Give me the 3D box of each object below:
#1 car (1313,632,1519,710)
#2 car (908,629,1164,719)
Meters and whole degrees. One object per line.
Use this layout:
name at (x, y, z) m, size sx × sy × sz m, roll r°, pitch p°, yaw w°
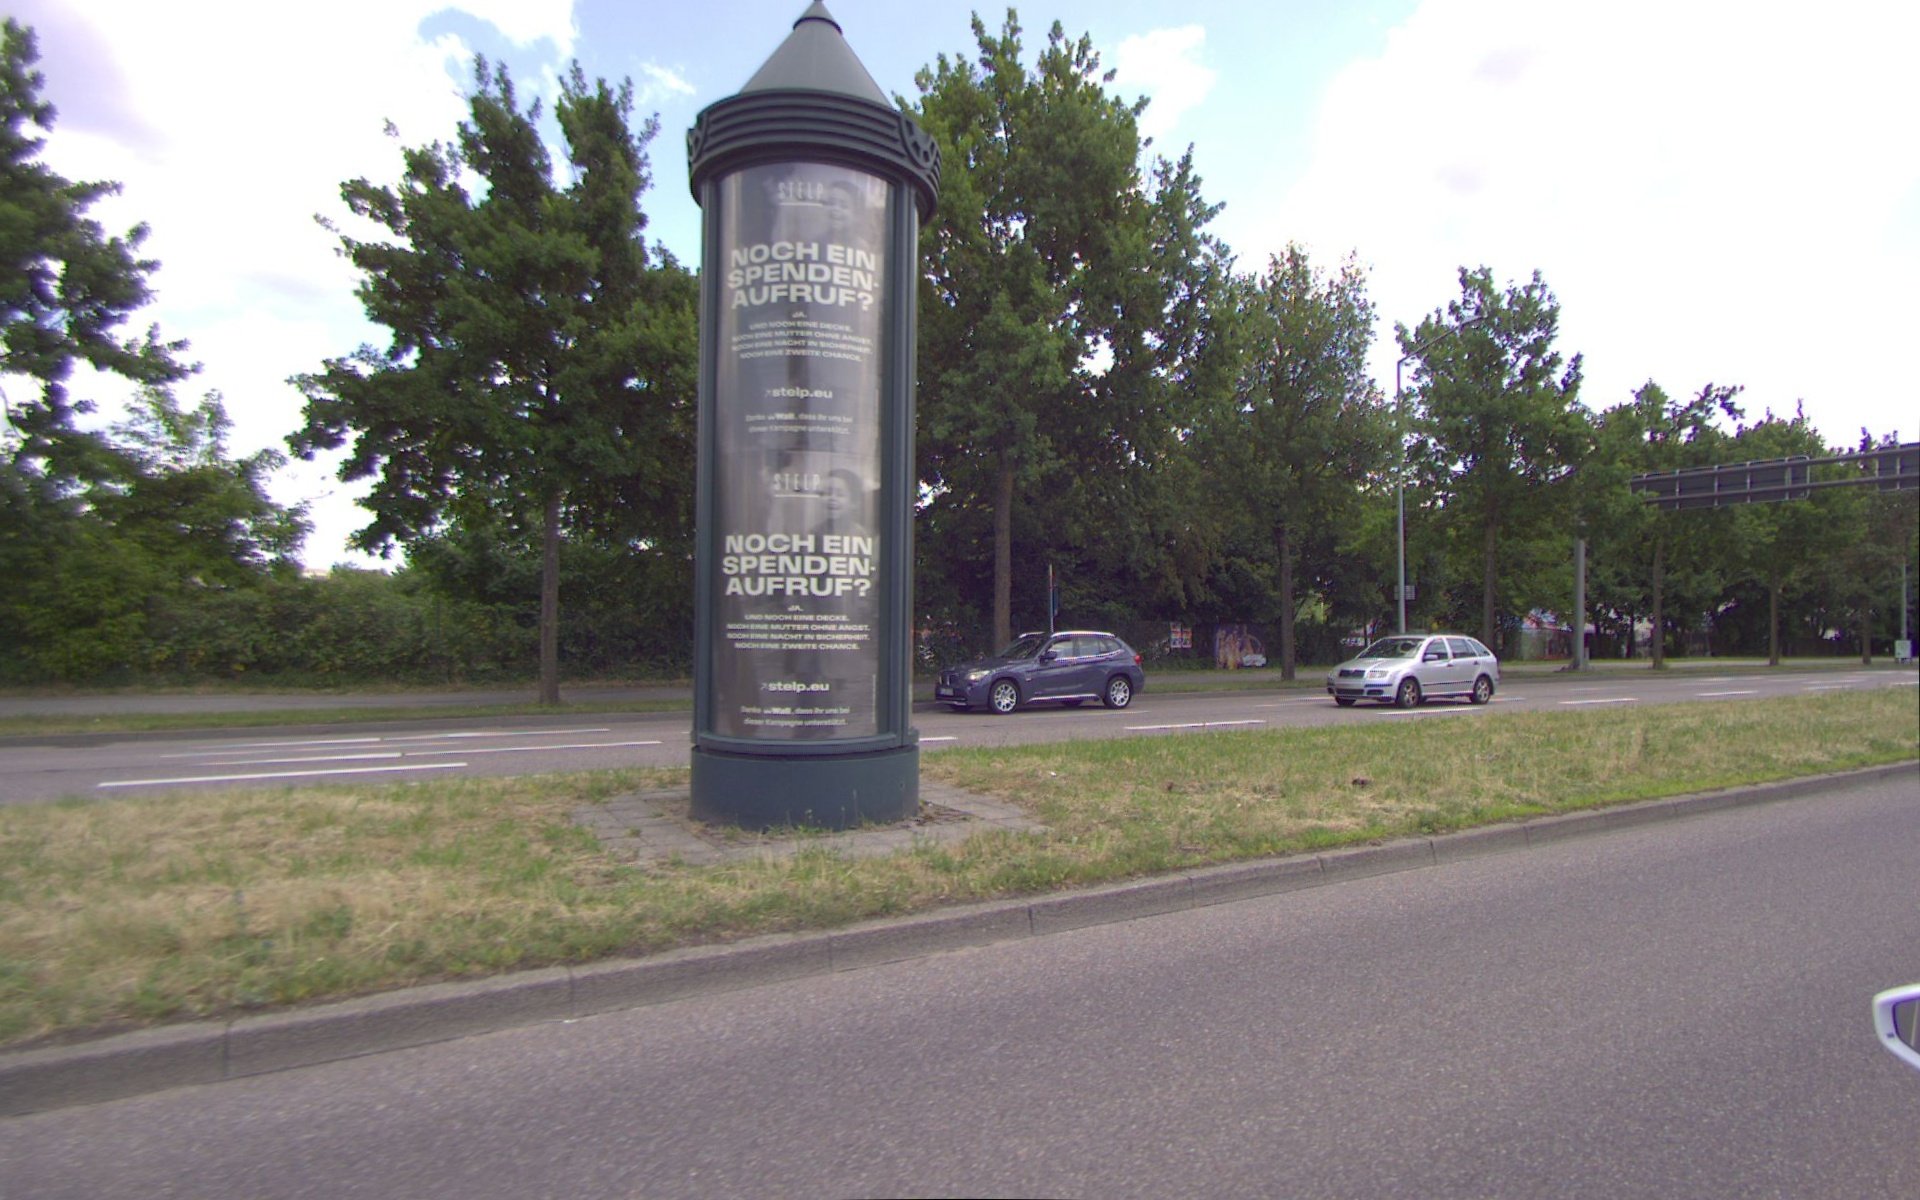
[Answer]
car at (9.429, 1.417, 20.698) m, size 4.259 × 1.459 × 1.755 m, roll 2°, pitch -3°, yaw -30°
car at (1.565, 1.403, 19.842) m, size 4.974 × 1.598 × 1.754 m, roll 2°, pitch -3°, yaw -31°
